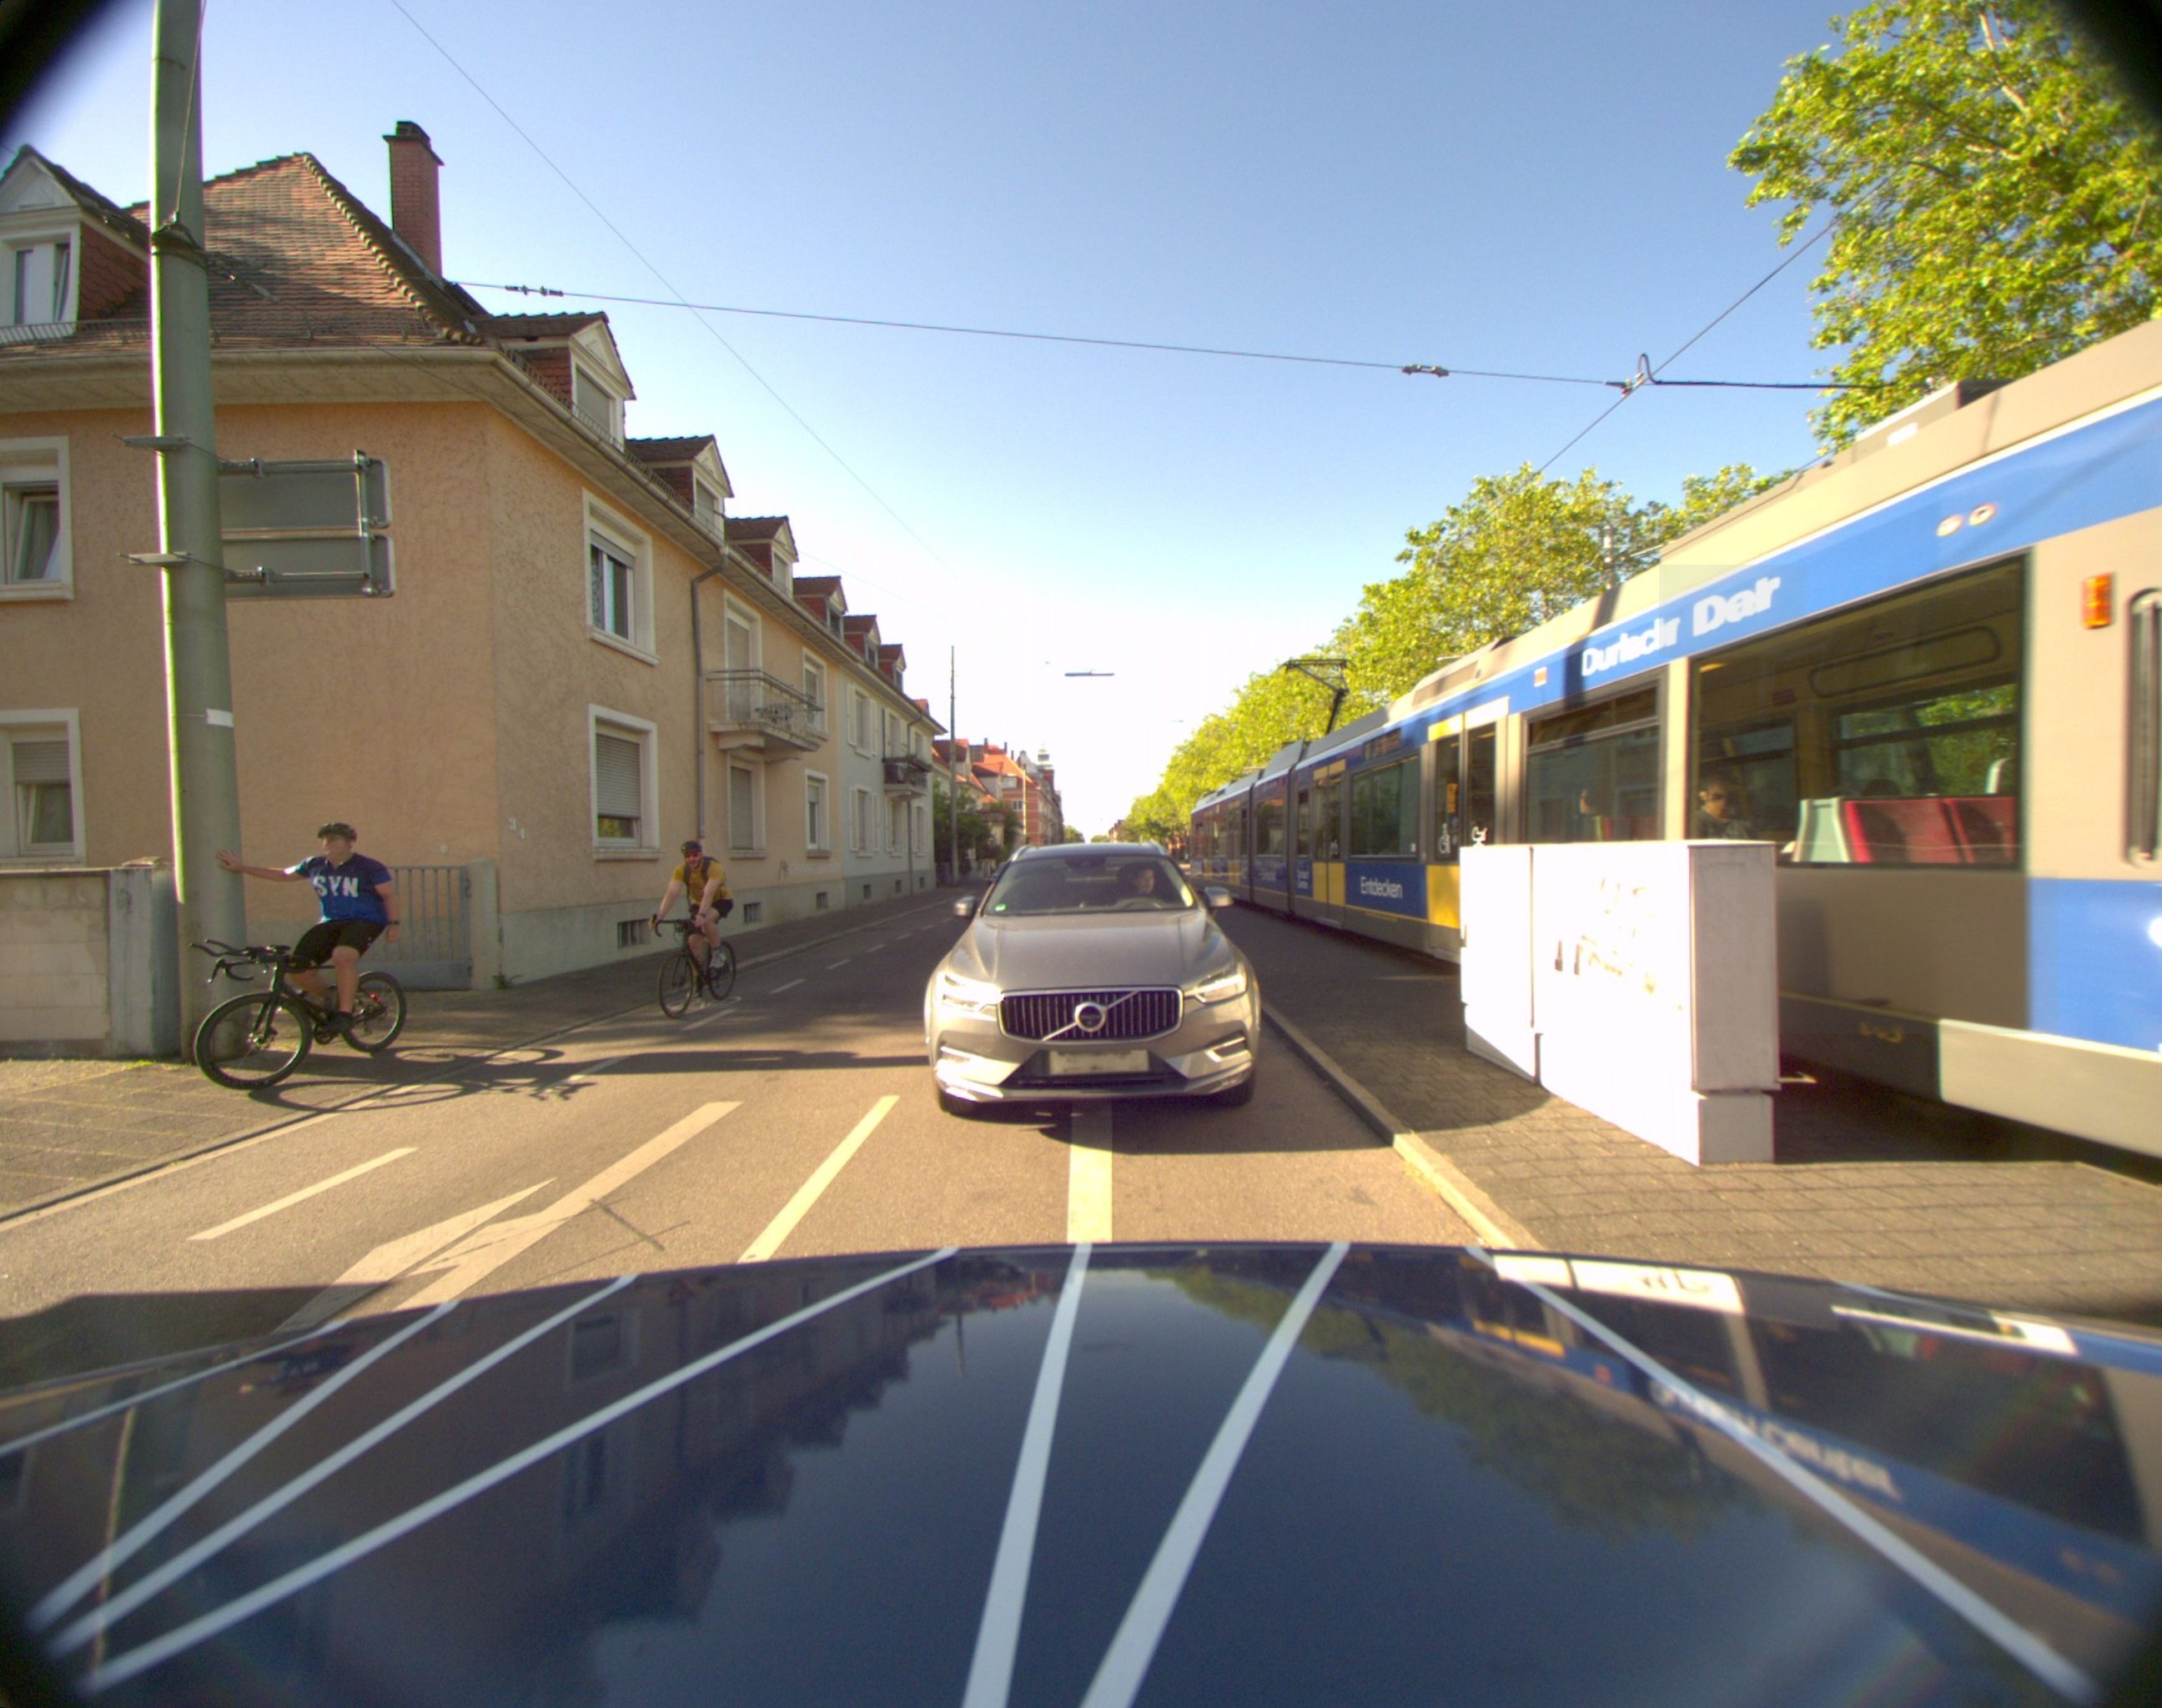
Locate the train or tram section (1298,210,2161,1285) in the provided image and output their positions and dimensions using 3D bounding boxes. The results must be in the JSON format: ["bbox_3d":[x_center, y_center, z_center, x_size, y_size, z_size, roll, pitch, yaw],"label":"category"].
[{"bbox_3d":[4.946,-0.363,6.616,2.777,3.479,12.030,-1,0,1],"label":"train or tram section"}]

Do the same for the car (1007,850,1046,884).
[{"bbox_3d":[-2.965,0.683,42.200,1.847,1.742,4.144,-1,0,0],"label":"car"}]

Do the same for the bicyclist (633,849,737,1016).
[{"bbox_3d":[-4.291,0.811,8.301,0.582,1.712,0.955,-1,1,1],"label":"bicyclist"}]

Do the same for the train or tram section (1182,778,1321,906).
[{"bbox_3d":[5.266,-0.342,25.040,2.821,3.479,7.962,-1,0,1],"label":"train or tram section"}]

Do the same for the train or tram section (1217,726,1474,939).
[{"bbox_3d":[5.148,-0.361,16.856,2.821,3.479,8.462,-1,0,1],"label":"train or tram section"}]

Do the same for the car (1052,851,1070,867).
[{"bbox_3d":[-2.242,0.548,85.488,1.999,1.641,4.658,-1,0,-1],"label":"car"}]

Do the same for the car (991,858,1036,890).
[{"bbox_3d":[-3.230,0.943,36.981,1.847,1.412,3.999,-1,0,-1],"label":"car"}]

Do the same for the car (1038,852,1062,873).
[{"bbox_3d":[-2.674,0.692,65.774,1.847,1.681,4.000,-1,0,0],"label":"car"}]

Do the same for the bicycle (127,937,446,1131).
[{"bbox_3d":[-5.934,1.274,5.846,0.594,1.045,1.719,4,1,1],"label":"bicycle"}]

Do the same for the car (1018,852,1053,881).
[{"bbox_3d":[-2.780,0.715,46.818,1.847,1.681,4.000,-1,0,0],"label":"car"}]

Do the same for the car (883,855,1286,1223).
[{"bbox_3d":[-0.001,0.885,5.792,1.892,1.695,4.318,-1,0,-1],"label":"car"}]

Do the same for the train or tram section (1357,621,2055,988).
[{"bbox_3d":[7.952,-0.533,12.469,2.862,3.456,10.180,-2,1,-1],"label":"train or tram section"}]

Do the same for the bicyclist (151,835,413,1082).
[{"bbox_3d":[-6.175,0.760,5.942,1.071,1.728,0.853,4,1,1],"label":"bicyclist"}]

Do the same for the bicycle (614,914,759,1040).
[{"bbox_3d":[-4.265,1.284,8.376,0.611,1.081,1.809,-1,1,1],"label":"bicycle"}]

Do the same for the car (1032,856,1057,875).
[{"bbox_3d":[-2.878,0.857,60.410,1.808,1.402,3.999,-1,0,-1],"label":"car"}]
